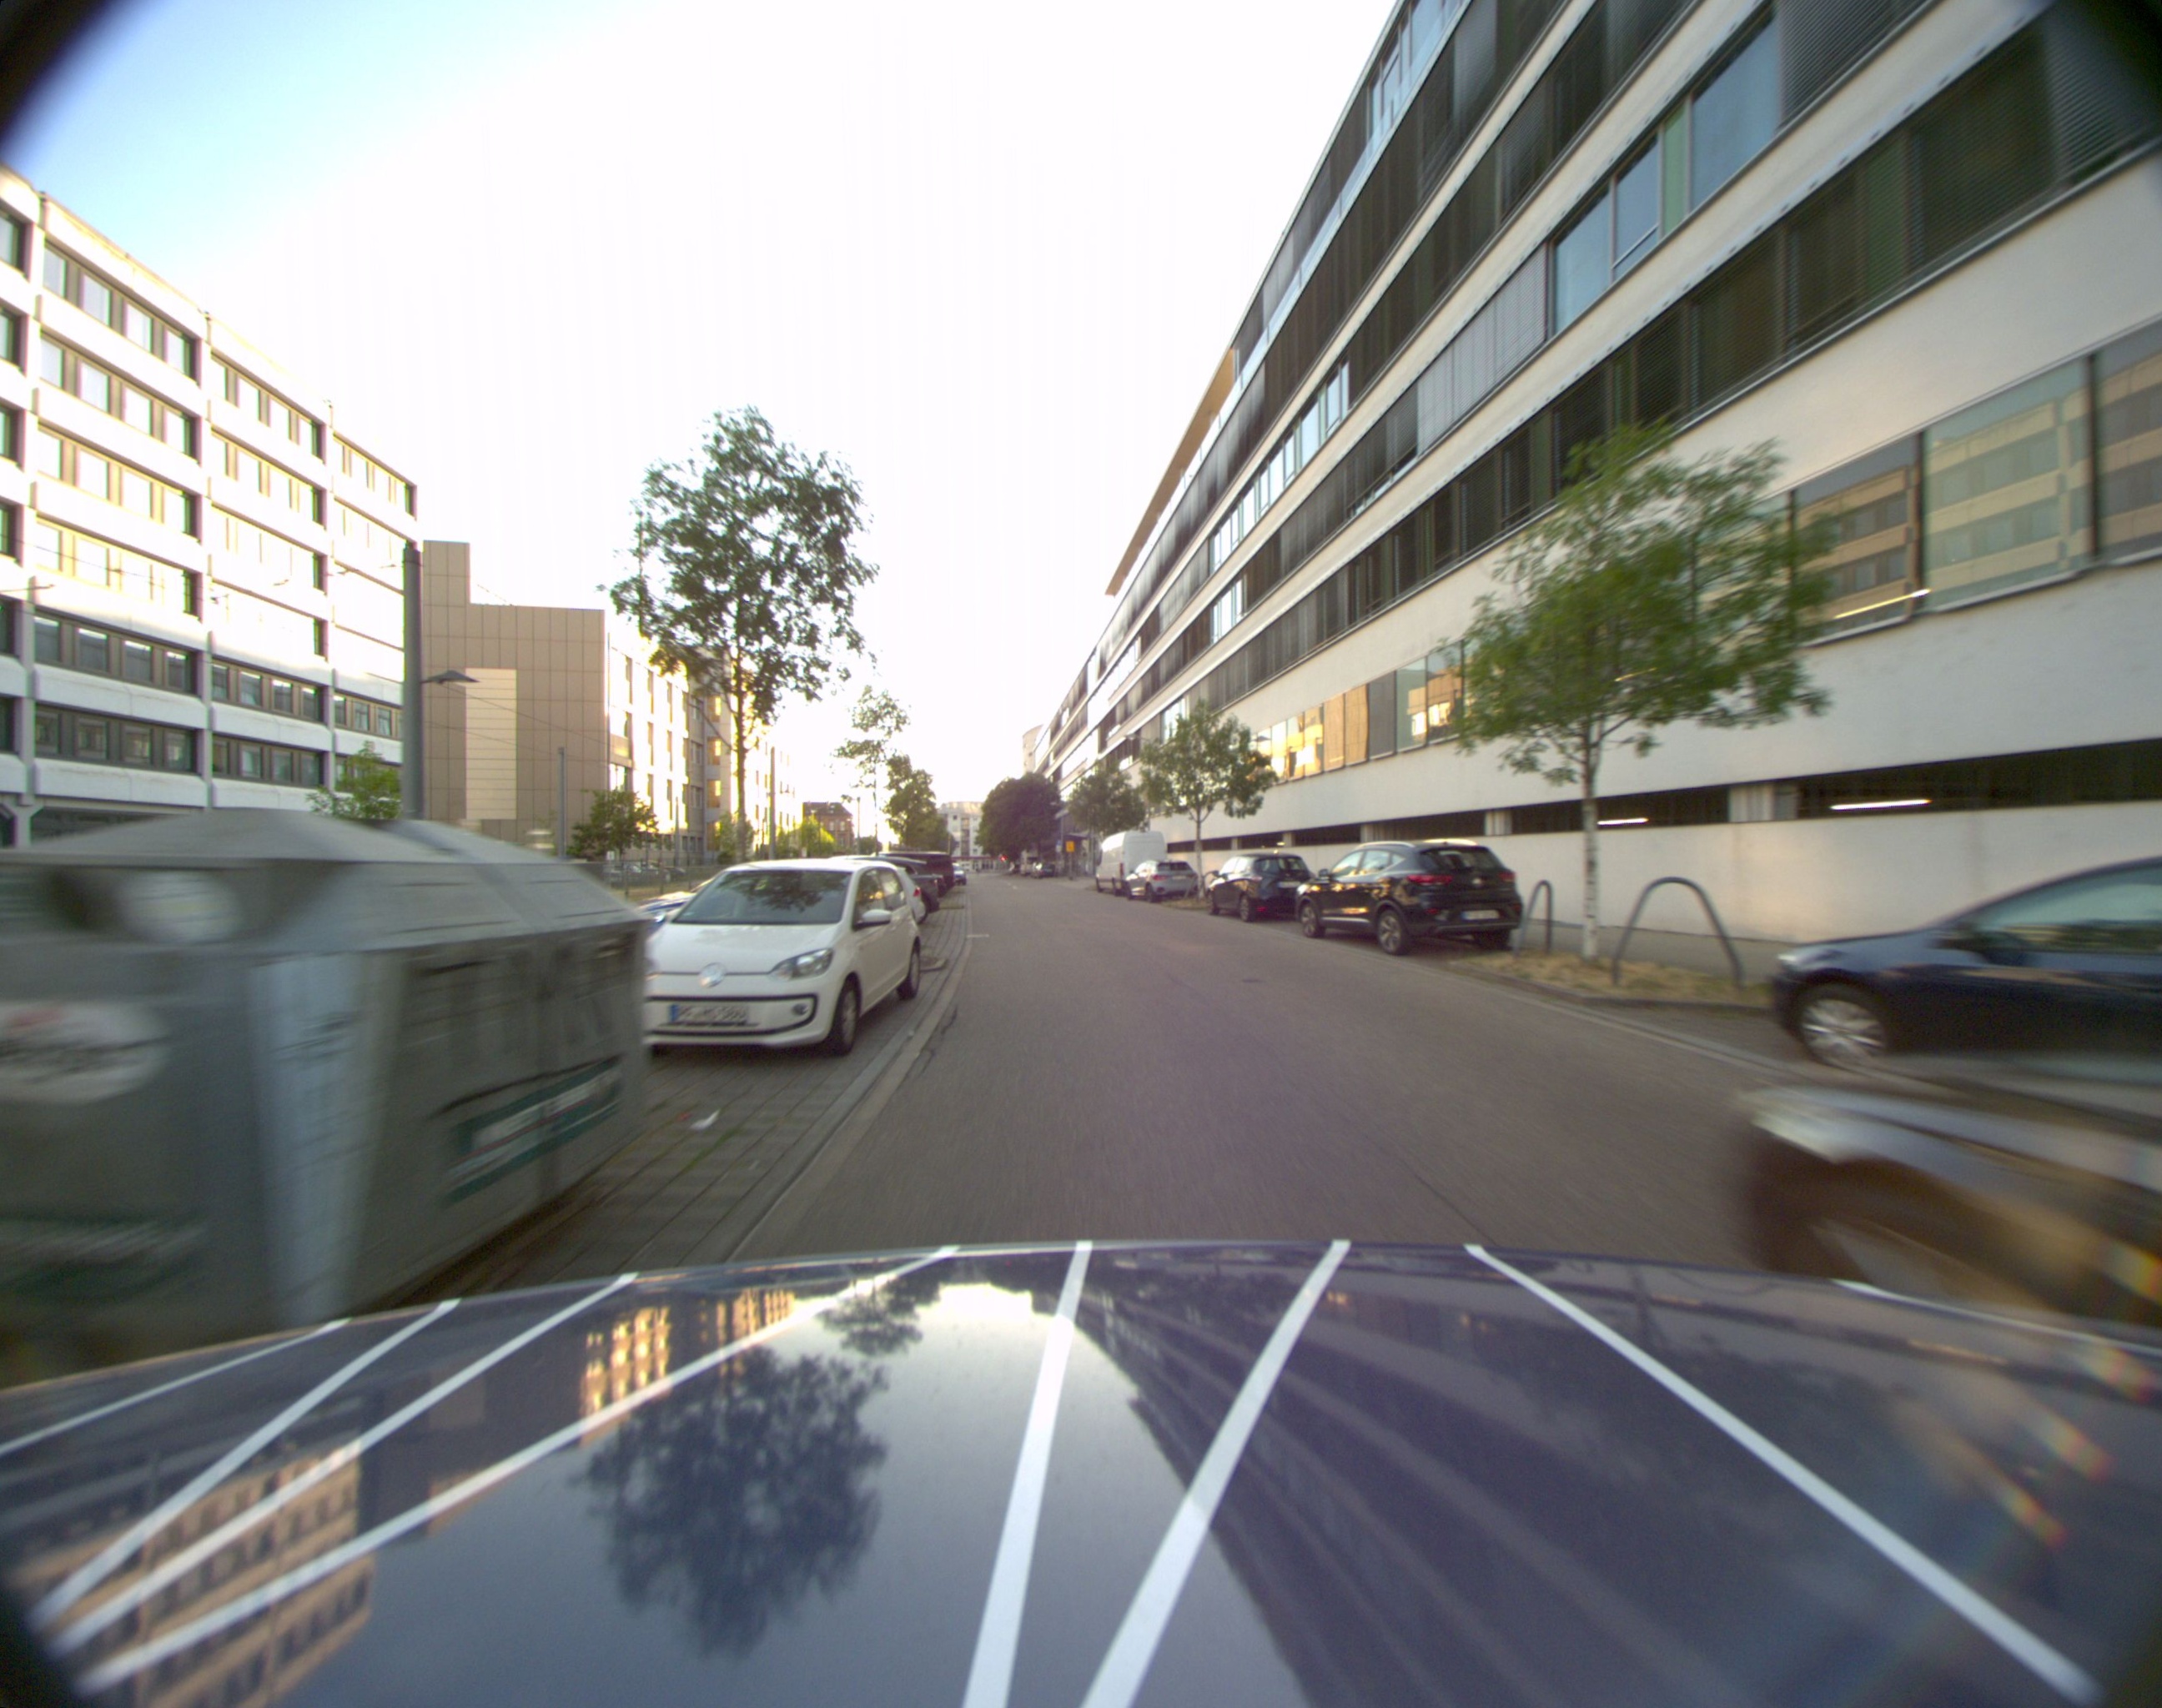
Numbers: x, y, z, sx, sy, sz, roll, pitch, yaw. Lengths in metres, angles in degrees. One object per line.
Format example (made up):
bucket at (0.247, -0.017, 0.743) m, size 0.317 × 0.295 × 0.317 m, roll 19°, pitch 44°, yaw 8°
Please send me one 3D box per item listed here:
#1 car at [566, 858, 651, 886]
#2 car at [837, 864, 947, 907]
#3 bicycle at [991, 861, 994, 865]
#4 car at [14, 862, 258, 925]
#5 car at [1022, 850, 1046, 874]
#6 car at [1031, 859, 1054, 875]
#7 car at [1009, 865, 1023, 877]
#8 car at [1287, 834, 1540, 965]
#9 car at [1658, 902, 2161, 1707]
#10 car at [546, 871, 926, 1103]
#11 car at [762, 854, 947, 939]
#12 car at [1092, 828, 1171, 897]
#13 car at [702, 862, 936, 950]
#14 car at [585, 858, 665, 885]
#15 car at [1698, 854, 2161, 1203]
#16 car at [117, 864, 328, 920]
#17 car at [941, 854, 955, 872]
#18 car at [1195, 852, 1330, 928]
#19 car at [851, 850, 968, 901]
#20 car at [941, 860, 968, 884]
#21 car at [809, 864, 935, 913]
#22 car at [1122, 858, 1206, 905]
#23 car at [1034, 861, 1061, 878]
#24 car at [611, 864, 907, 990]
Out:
car at (-28.941, 1.075, 46.630) m, size 3.999 × 1.478 × 1.674 m, roll -3°, pitch 0°, yaw -8°
car at (-7.278, 1.199, 29.502) m, size 3.786 × 1.456 × 1.634 m, roll -2°, pitch -1°, yaw -44°
bicycle at (-21.641, 2.274, 185.763) m, size 0.515 × 1.040 × 1.901 m, roll 0°, pitch -1°, yaw -11°
car at (-25.165, 1.017, 20.370) m, size 4.000 × 1.390 × 1.591 m, roll -3°, pitch 0°, yaw -10°
car at (-5.272, 0.916, 85.045) m, size 2.107 × 2.648 × 6.947 m, roll -1°, pitch -1°, yaw -8°
car at (-3.800, 1.267, 74.753) m, size 1.850 × 1.562 × 4.265 m, roll -1°, pitch -1°, yaw -8°
car at (-9.179, 2.384, 107.178) m, size 1.595 × 1.559 × 4.468 m, roll -4°, pitch 0°, yaw -9°
car at (4.970, 0.626, 12.042) m, size 1.761 × 1.643 × 3.946 m, roll -3°, pitch -1°, yaw -9°
car at (2.797, 0.862, 0.179) m, size 1.783 × 1.414 × 4.515 m, roll -1°, pitch 0°, yaw -2°
car at (-2.586, 0.896, 6.676) m, size 1.727 × 1.458 × 3.553 m, roll 0°, pitch -1°, yaw 0°
car at (-5.317, 0.937, 18.074) m, size 3.786 × 1.715 × 1.759 m, roll -2°, pitch -1°, yaw -41°
car at (2.006, 0.382, 33.003) m, size 1.964 × 2.601 × 6.888 m, roll -3°, pitch -1°, yaw -8°
car at (-5.135, 0.952, 15.089) m, size 3.941 × 1.500 × 1.951 m, roll 2°, pitch -1°, yaw -38°
car at (-29.304, 1.098, 48.906) m, size 3.999 × 1.478 × 1.674 m, roll -3°, pitch 0°, yaw -8°
car at (5.493, 0.749, 3.474) m, size 1.727 × 1.448 × 4.271 m, roll -3°, pitch -1°, yaw -2°
car at (-25.426, 1.086, 22.630) m, size 4.000 × 1.390 × 1.591 m, roll -3°, pitch 0°, yaw -10°
car at (-20.327, 1.423, 116.328) m, size 2.058 × 2.641 × 5.430 m, roll 1°, pitch -1°, yaw -10°
car at (4.188, 0.797, 18.236) m, size 1.761 × 1.551 × 4.041 m, roll -3°, pitch -1°, yaw -8°
car at (-7.429, 0.913, 33.245) m, size 4.612 × 2.023 × 1.866 m, roll -2°, pitch -1°, yaw -42°
car at (-8.873, 1.239, 53.351) m, size 1.737 × 1.457 × 3.996 m, roll -3°, pitch 0°, yaw -9°
car at (-7.179, 1.154, 26.278) m, size 3.786 × 1.434 × 1.759 m, roll -2°, pitch -1°, yaw -44°
car at (2.840, 0.932, 26.802) m, size 1.762 × 1.431 × 3.898 m, roll -3°, pitch -1°, yaw -12°
car at (-3.117, 1.378, 69.221) m, size 1.721 × 1.443 × 4.395 m, roll -1°, pitch -1°, yaw -12°
car at (-4.787, 0.980, 11.601) m, size 3.762 × 1.500 × 1.683 m, roll -2°, pitch -1°, yaw -43°
